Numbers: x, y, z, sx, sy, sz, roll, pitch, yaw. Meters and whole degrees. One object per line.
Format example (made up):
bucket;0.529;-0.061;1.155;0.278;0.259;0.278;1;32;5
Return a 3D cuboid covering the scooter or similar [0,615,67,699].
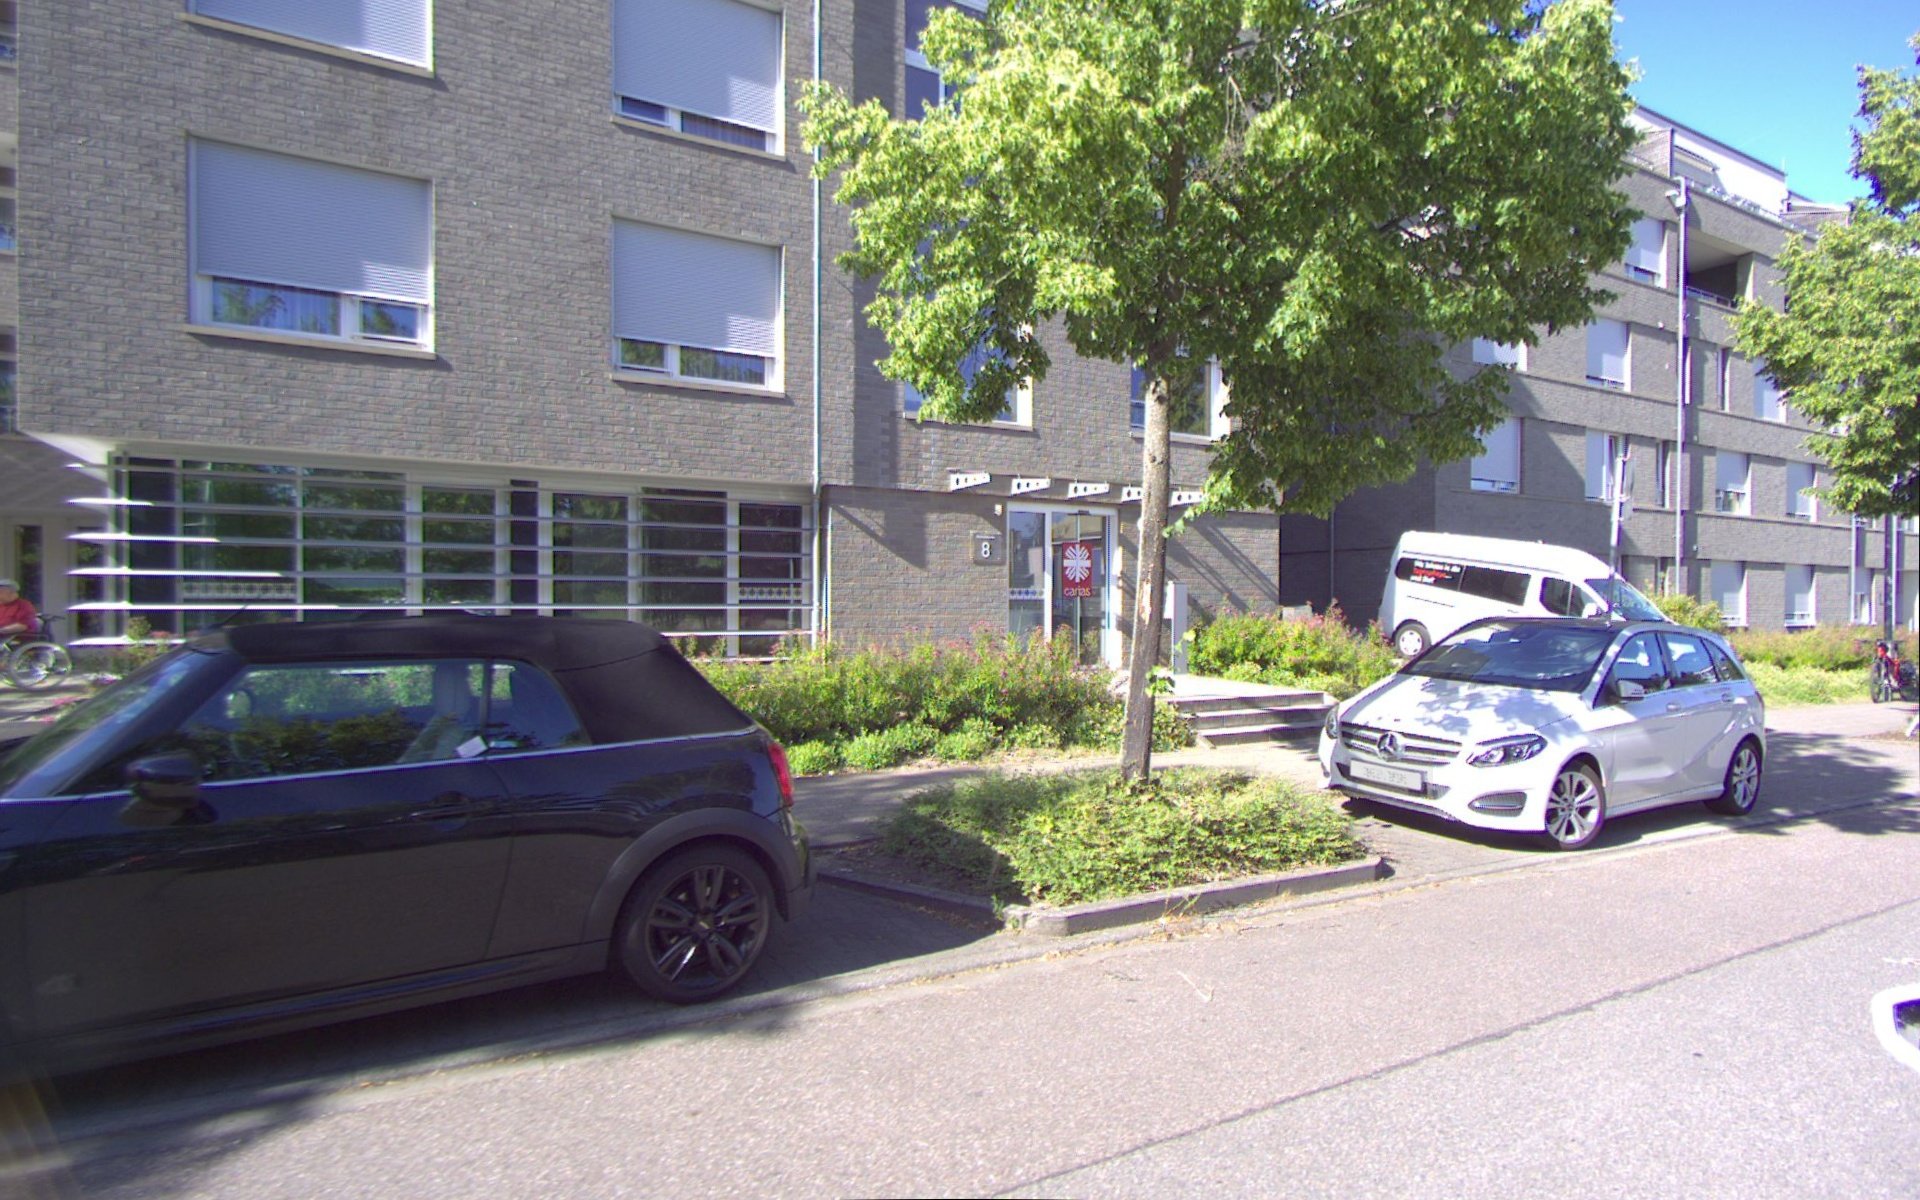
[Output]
scooter or similar;-11.504;0.681;12.210;0.796;0.967;0.861;-1;0;-30

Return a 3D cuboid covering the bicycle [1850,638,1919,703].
bicycle;17.008;1.265;18.360;1.956;1.139;0.283;1;0;-23

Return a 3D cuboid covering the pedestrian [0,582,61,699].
pedestrian;-11.510;0.481;12.230;0.662;1.379;0.739;1;0;-28

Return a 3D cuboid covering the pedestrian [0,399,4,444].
pedestrian;-15.981;-2.941;16.456;0.413;0.695;0.423;-1;1;-38

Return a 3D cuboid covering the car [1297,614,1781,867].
car;4.764;0.894;8.066;4.241;1.553;1.649;1;-1;-33

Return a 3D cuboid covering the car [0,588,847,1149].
car;-2.457;0.744;3.763;3.749;1.524;1.569;1;-1;-33

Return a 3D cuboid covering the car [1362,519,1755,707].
car;10.111;0.034;17.586;1.901;2.415;5.414;1;7;-32
